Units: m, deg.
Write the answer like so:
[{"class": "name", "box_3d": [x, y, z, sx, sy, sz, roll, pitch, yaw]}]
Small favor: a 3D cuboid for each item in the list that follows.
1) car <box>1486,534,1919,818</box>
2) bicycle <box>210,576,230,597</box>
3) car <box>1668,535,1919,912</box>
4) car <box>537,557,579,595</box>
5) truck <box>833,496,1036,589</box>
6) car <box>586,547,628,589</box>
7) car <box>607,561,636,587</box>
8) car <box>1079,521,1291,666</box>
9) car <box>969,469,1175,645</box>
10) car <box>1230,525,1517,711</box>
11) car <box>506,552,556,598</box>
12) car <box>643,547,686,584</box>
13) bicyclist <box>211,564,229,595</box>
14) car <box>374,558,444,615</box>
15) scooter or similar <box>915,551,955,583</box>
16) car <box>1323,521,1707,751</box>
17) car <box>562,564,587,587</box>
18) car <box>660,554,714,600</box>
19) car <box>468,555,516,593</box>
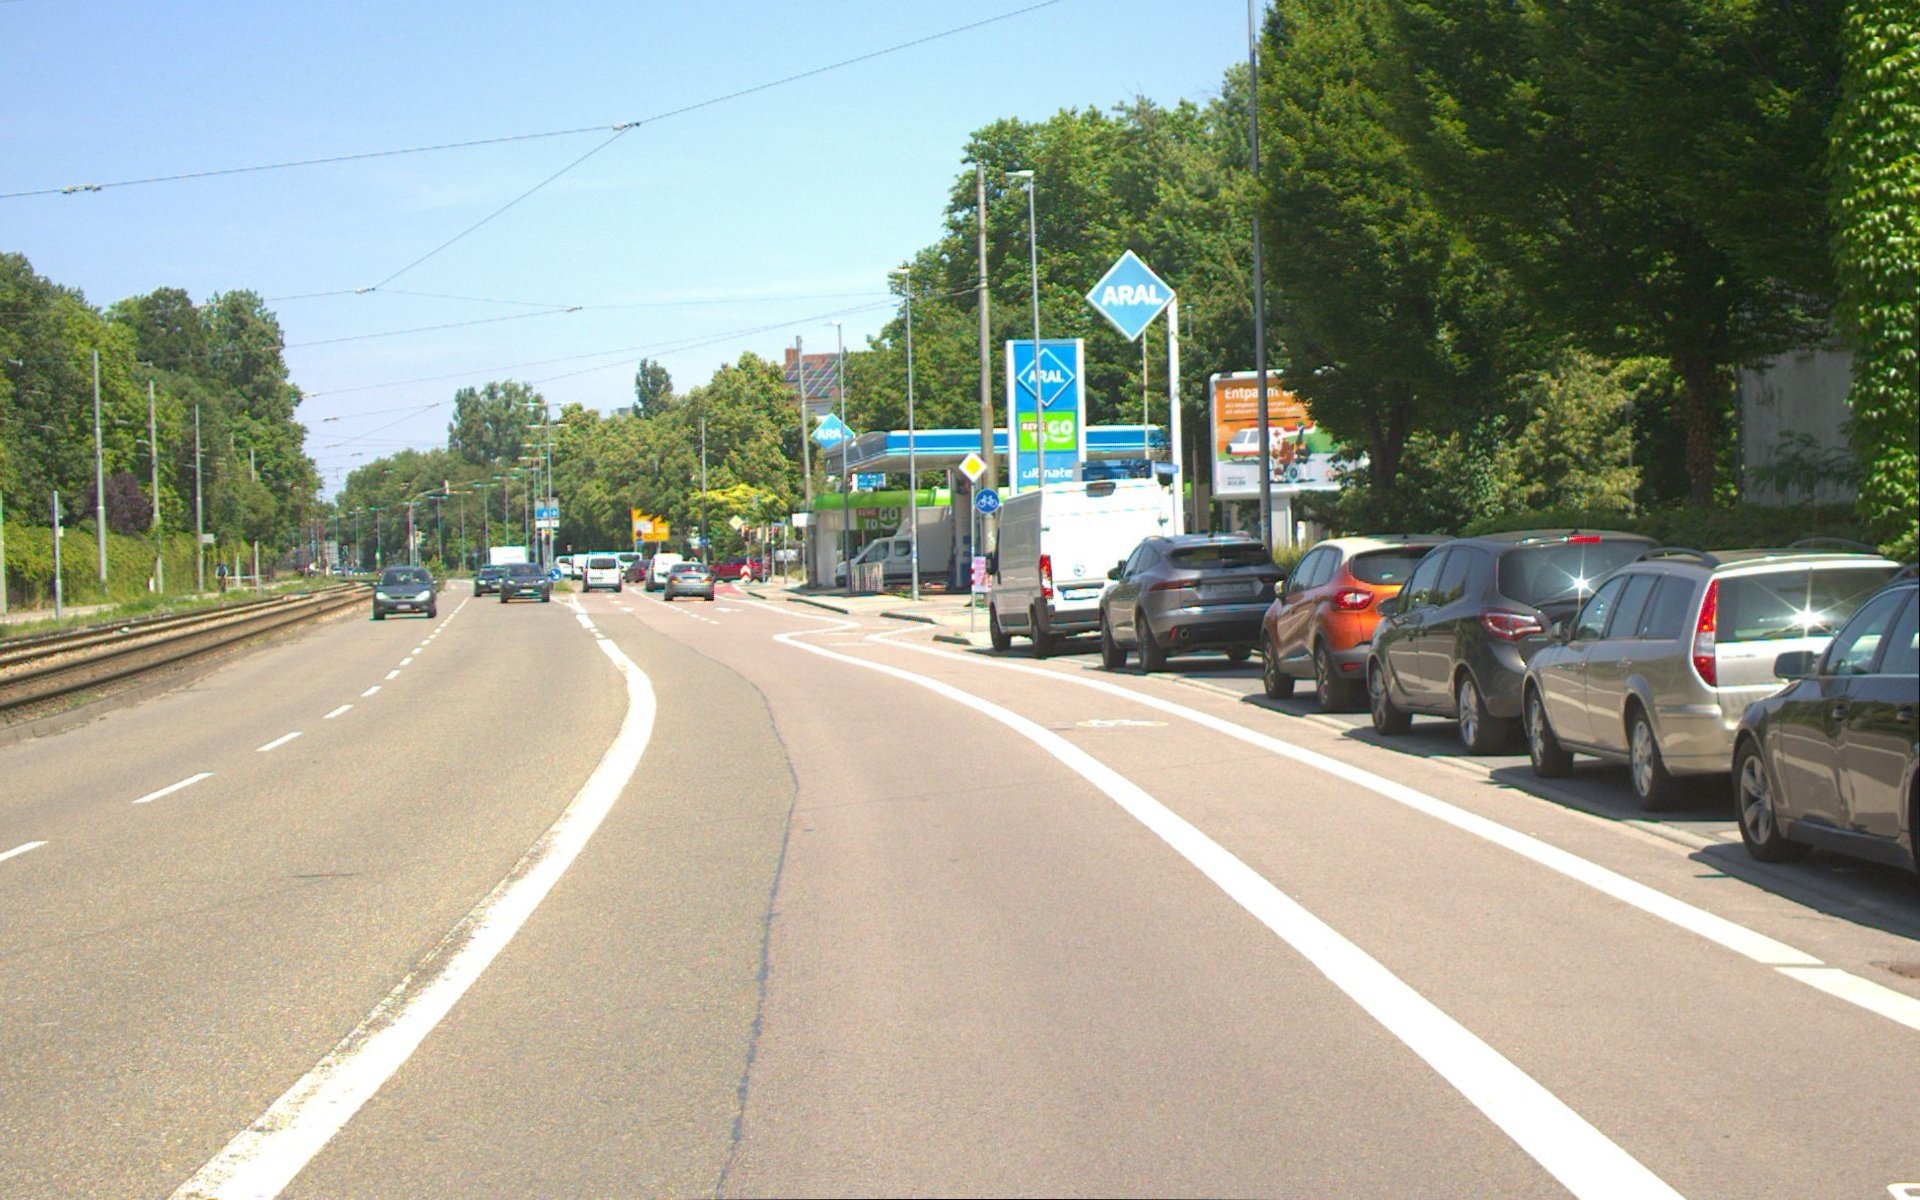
[{"class": "car", "box_3d": [4.627, 0.381, 21.323, 1.706, 1.487, 4.732, -3, 1, -3]}, {"class": "bicycle", "box_3d": [-39.184, -0.713, 182.092, 0.681, 1.050, 2.009, -5, 0, -4]}, {"class": "car", "box_3d": [4.689, 0.468, 15.509, 1.706, 1.487, 5.039, -3, 1, -2]}, {"class": "car", "box_3d": [-18.584, -1.113, 159.064, 1.755, 1.625, 4.325, -3, 1, -6]}, {"class": "truck", "box_3d": [-1.030, -2.298, 136.908, 7.967, 3.590, 2.663, -1, 1, -1]}, {"class": "car", "box_3d": [-16.627, -1.504, 161.667, 1.755, 1.868, 4.325, -3, 1, -7]}, {"class": "car", "box_3d": [-23.004, -1.765, 233.546, 1.755, 1.625, 4.325, -3, 1, -7]}, {"class": "car", "box_3d": [2.728, -0.106, 42.645, 1.755, 1.625, 4.325, -3, 1, -7]}, {"class": "car", "box_3d": [1.637, -0.661, 52.804, 2.000, 2.448, 6.111, -3, 1, -8]}, {"class": "car", "box_3d": [3.839, 0.129, 32.624, 1.706, 1.557, 4.325, -3, 1, -6]}, {"class": "car", "box_3d": [-16.112, -0.949, 129.072, 1.755, 1.625, 4.325, -3, 1, -7]}, {"class": "car", "box_3d": [-14.042, -1.633, 163.090, 1.755, 1.625, 4.325, -3, 1, -7]}, {"class": "bicyclist", "box_3d": [-39.216, -1.096, 182.100, 0.681, 1.569, 0.795, -5, 0, -4]}, {"class": "car", "box_3d": [-15.660, -0.405, 97.831, 1.755, 1.504, 4.325, -3, 1, -7]}, {"class": "scooter or similar", "box_3d": [-1.021, -1.352, 140.926, 1.552, 1.323, 0.537, -1, 1, -8]}, {"class": "car", "box_3d": [4.194, 0.228, 26.692, 1.706, 1.557, 4.325, -3, 1, -7]}, {"class": "car", "box_3d": [-28.515, -1.825, 254.246, 1.755, 1.625, 4.325, -3, 1, -7]}, {"class": "car", "box_3d": [-10.382, -0.869, 130.458, 1.755, 1.625, 4.325, -3, 1, -7]}, {"class": "car", "box_3d": [-21.267, -1.169, 156.181, 1.755, 1.625, 4.325, -3, 1, -12]}]
